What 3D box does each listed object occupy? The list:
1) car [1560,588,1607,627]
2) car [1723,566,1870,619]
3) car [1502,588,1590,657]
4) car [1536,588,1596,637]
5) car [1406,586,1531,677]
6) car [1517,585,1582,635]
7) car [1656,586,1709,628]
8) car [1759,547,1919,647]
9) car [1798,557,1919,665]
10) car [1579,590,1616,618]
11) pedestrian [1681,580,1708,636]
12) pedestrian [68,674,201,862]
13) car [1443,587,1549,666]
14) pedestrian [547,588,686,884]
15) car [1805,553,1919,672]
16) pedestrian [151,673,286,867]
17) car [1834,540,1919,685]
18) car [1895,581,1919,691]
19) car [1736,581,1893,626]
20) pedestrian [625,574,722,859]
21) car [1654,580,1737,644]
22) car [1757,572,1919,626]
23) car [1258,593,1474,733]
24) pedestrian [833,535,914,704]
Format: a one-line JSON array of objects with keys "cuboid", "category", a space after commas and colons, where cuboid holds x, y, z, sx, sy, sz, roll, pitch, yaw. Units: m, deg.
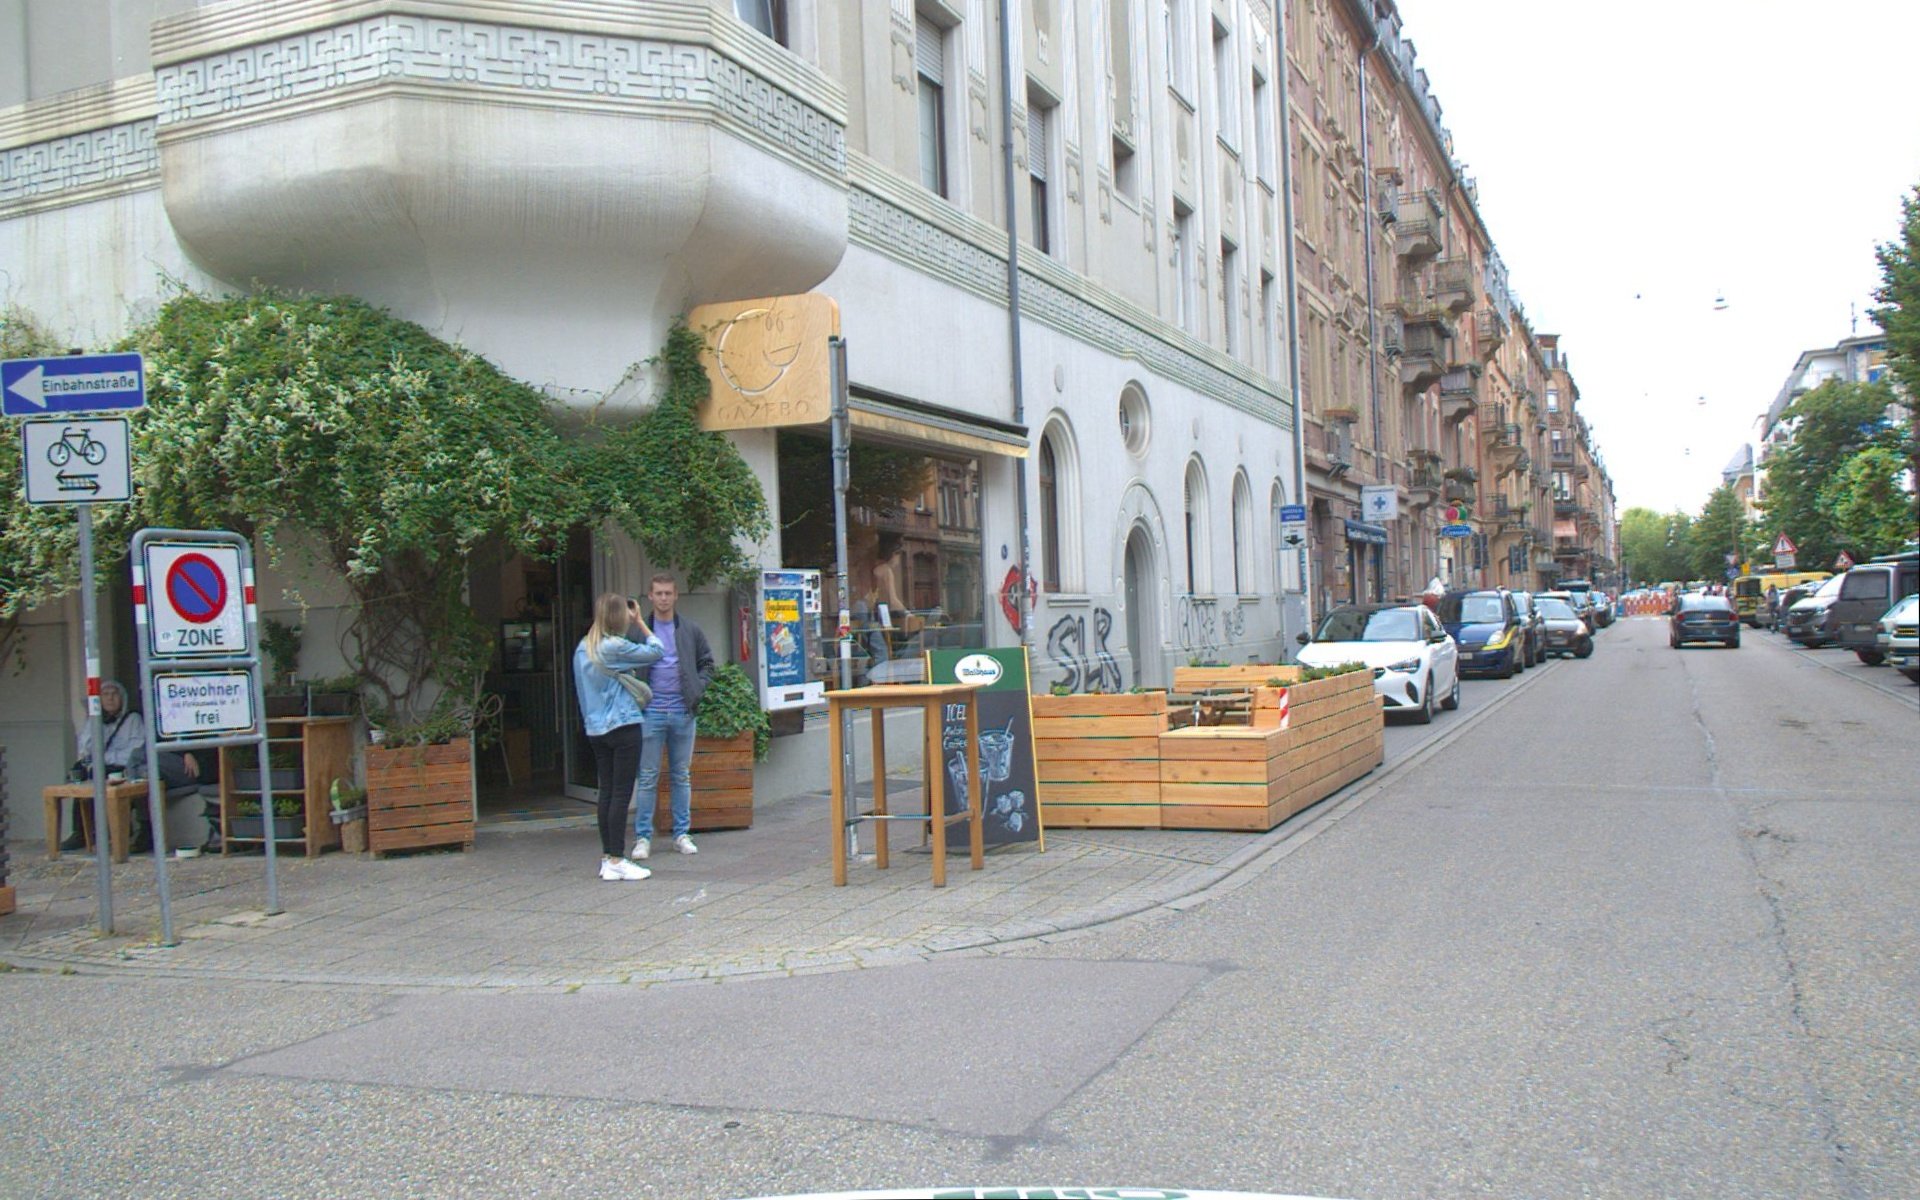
[{"cuboid": [29.909, 0.335, 79.270, 1.905, 1.769, 3.941, -3, -1, 23], "category": "car"}, {"cuboid": [35.377, -0.302, 70.035, 5.284, 1.900, 1.947, -3, -2, -7], "category": "car"}, {"cuboid": [14.998, 0.555, 42.218, 1.904, 1.645, 3.942, -2, -1, 22], "category": "car"}, {"cuboid": [23.111, 0.460, 63.033, 1.905, 1.772, 3.941, -2, -1, 23], "category": "car"}, {"cuboid": [9.939, 0.590, 32.175, 1.905, 1.645, 3.941, -2, -1, 23], "category": "car"}, {"cuboid": [20.448, 0.353, 57.317, 1.904, 1.645, 3.942, -2, -1, 22], "category": "car"}, {"cuboid": [31.897, 0.344, 73.104, 1.953, 1.710, 3.999, -2, -2, 22], "category": "car"}, {"cuboid": [24.319, -0.113, 43.773, 5.275, 2.415, 1.951, -3, -2, 2], "category": "car"}, {"cuboid": [19.926, 0.135, 33.295, 5.290, 2.027, 1.945, -3, -2, -11], "category": "car"}, {"cuboid": [38.680, 0.251, 100.364, 1.952, 1.525, 4.001, -2, -2, 20], "category": "car"}, {"cuboid": [29.127, 0.331, 65.619, 0.873, 2.183, 1.028, -2, -2, 22], "category": "pedestrian"}, {"cuboid": [-5.669, 1.141, 11.370, 0.566, 1.218, 0.555, -2, 0, 23], "category": "pedestrian"}, {"cuboid": [12.105, 0.583, 37.199, 1.905, 1.645, 3.941, -2, -1, 23], "category": "car"}, {"cuboid": [-2.051, 0.787, 9.864, 0.570, 1.689, 0.572, -3, -3, 44], "category": "pedestrian"}, {"cuboid": [17.701, 0.171, 29.873, 3.904, 2.049, 1.751, -2, -1, 2], "category": "car"}, {"cuboid": [-4.934, 1.114, 11.020, 0.566, 1.218, 0.555, -2, 0, 23], "category": "pedestrian"}, {"cuboid": [16.898, 0.086, 25.978, 5.507, 2.164, 1.945, -3, -2, -11], "category": "car"}, {"cuboid": [15.343, 0.393, 23.007, 3.782, 1.531, 1.766, -3, -2, -11], "category": "car"}, {"cuboid": [33.742, 0.152, 65.343, 5.283, 1.580, 1.948, -2, -1, -7], "category": "car"}, {"cuboid": [-1.847, 0.734, 10.623, 0.568, 1.765, 0.504, -1, -2, -13], "category": "pedestrian"}, {"cuboid": [21.057, 0.383, 47.490, 1.953, 1.710, 3.999, -2, -2, 22], "category": "car"}, {"cuboid": [31.491, -0.039, 58.931, 5.284, 1.580, 1.947, -3, -2, -7], "category": "car"}, {"cuboid": [5.326, 0.766, 21.369, 1.906, 1.580, 3.814, -4, -2, 25], "category": "car"}, {"cuboid": [-0.858, 0.195, 16.303, 0.729, 1.621, 0.618, -1, -2, -7], "category": "pedestrian"}]
